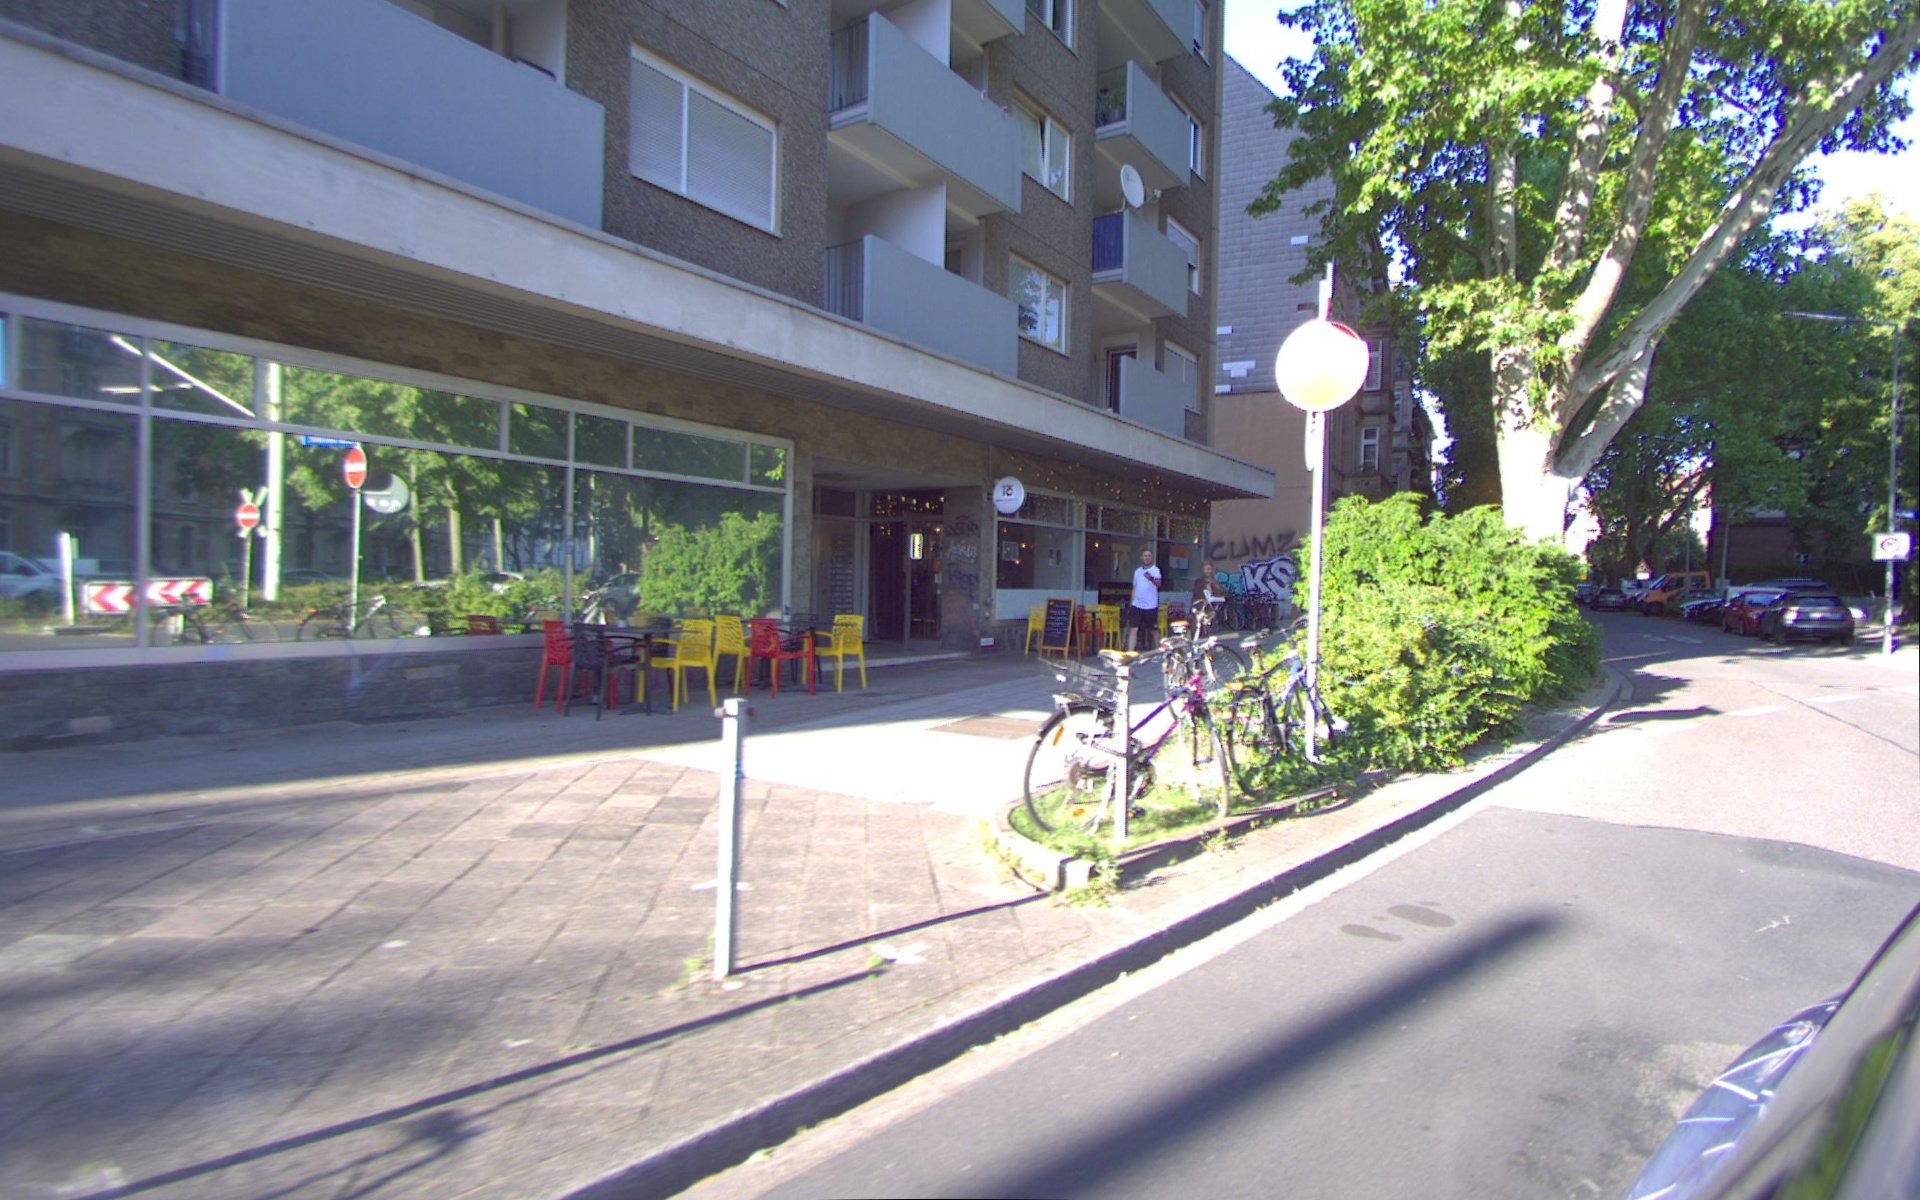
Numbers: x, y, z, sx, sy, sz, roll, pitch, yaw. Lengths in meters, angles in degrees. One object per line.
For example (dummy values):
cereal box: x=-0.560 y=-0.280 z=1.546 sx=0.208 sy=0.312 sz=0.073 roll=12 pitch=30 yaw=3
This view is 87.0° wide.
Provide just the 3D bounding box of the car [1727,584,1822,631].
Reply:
car: x=27.770 y=0.193 z=34.634 sx=1.728 sy=1.467 sz=4.599 roll=0 pitch=1 yaw=29

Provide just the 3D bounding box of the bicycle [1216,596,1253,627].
bicycle: x=7.069 y=0.286 z=26.085 sx=0.886 sy=0.750 sz=0.270 roll=2 pitch=1 yaw=27

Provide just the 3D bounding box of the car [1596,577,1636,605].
car: x=39.148 y=-0.561 z=60.428 sx=1.593 sy=1.485 sz=3.962 roll=4 pitch=3 yaw=28

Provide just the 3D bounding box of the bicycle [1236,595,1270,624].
bicycle: x=8.200 y=0.260 z=28.339 sx=0.886 sy=0.750 sz=0.270 roll=2 pitch=1 yaw=27

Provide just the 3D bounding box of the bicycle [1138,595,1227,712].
bicycle: x=2.149 y=0.486 z=9.713 sx=0.348 sy=1.051 sz=1.037 roll=3 pitch=2 yaw=41

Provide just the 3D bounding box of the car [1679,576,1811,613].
car: x=34.591 y=-0.213 z=44.745 sx=4.366 sy=1.511 sz=1.766 roll=-2 pitch=-1 yaw=32

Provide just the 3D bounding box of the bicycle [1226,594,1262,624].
bicycle: x=7.598 y=0.238 z=27.101 sx=0.886 sy=0.750 sz=0.270 roll=2 pitch=1 yaw=27

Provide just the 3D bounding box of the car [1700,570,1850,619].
car: x=32.198 y=-0.191 z=40.175 sx=4.366 sy=1.799 sz=1.766 roll=-2 pitch=-1 yaw=32

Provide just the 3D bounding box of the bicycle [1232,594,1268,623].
bicycle: x=7.940 y=0.222 z=27.724 sx=0.886 sy=0.750 sz=0.270 roll=2 pitch=1 yaw=27

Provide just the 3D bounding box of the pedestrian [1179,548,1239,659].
pedestrian: x=3.978 y=0.038 z=16.169 sx=0.683 sy=1.713 sz=0.636 roll=3 pitch=2 yaw=38

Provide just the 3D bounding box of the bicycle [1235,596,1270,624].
bicycle: x=8.090 y=0.270 z=28.021 sx=0.886 sy=0.750 sz=0.270 roll=2 pitch=1 yaw=27

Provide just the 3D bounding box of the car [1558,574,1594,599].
car: x=45.830 y=-1.012 z=75.369 sx=1.717 sy=1.652 sz=4.462 roll=4 pitch=2 yaw=25

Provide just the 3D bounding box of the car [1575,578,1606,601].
car: x=44.359 y=-0.783 z=71.254 sx=1.586 sy=1.485 sz=2.971 roll=4 pitch=3 yaw=28

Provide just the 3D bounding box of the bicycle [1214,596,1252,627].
bicycle: x=6.939 y=0.295 z=25.761 sx=0.886 sy=0.750 sz=0.270 roll=2 pitch=1 yaw=27

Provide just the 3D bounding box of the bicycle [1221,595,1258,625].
bicycle: x=7.378 y=0.269 z=26.699 sx=0.886 sy=0.750 sz=0.270 roll=2 pitch=1 yaw=27

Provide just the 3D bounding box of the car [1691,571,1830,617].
car: x=33.617 y=-0.245 z=42.675 sx=4.366 sy=1.799 sz=1.766 roll=-2 pitch=-1 yaw=32

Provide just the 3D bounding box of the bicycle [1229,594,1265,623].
bicycle: x=7.774 y=0.230 z=27.400 sx=0.886 sy=0.750 sz=0.270 roll=2 pitch=1 yaw=27

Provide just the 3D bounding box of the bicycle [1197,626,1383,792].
bicycle: x=2.277 y=0.670 z=6.861 sx=0.542 sy=0.916 sz=1.710 roll=3 pitch=2 yaw=41

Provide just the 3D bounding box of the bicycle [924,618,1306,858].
bicycle: x=0.868 y=0.633 z=5.352 sx=2.047 sy=1.035 sz=0.641 roll=1 pitch=2 yaw=-32

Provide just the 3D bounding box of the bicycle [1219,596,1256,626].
bicycle: x=7.232 y=0.277 z=26.398 sx=0.886 sy=0.750 sz=0.270 roll=2 pitch=1 yaw=27

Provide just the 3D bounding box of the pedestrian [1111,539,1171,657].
pedestrian: x=2.842 y=-0.049 z=15.894 sx=0.683 sy=1.795 sz=0.627 roll=3 pitch=2 yaw=38

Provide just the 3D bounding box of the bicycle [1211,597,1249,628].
bicycle: x=6.800 y=0.303 z=25.476 sx=0.886 sy=0.750 sz=0.270 roll=2 pitch=1 yaw=27

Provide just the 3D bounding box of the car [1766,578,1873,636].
car: x=25.298 y=0.169 z=29.922 sx=1.729 sy=1.571 sz=4.228 roll=-1 pitch=0 yaw=32

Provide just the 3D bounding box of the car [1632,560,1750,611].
car: x=37.288 y=-0.782 z=51.768 sx=4.595 sy=2.442 sz=1.592 roll=2 pitch=2 yaw=27

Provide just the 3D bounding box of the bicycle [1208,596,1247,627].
bicycle: x=6.657 y=0.280 z=25.157 sx=0.886 sy=0.750 sz=0.270 roll=2 pitch=1 yaw=27

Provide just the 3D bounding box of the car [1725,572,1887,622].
car: x=31.346 y=-0.077 z=37.689 sx=4.366 sy=1.729 sz=1.714 roll=-2 pitch=-1 yaw=32

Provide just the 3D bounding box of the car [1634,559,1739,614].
car: x=41.644 y=-0.826 z=58.132 sx=4.595 sy=3.003 sz=1.592 roll=2 pitch=1 yaw=27
